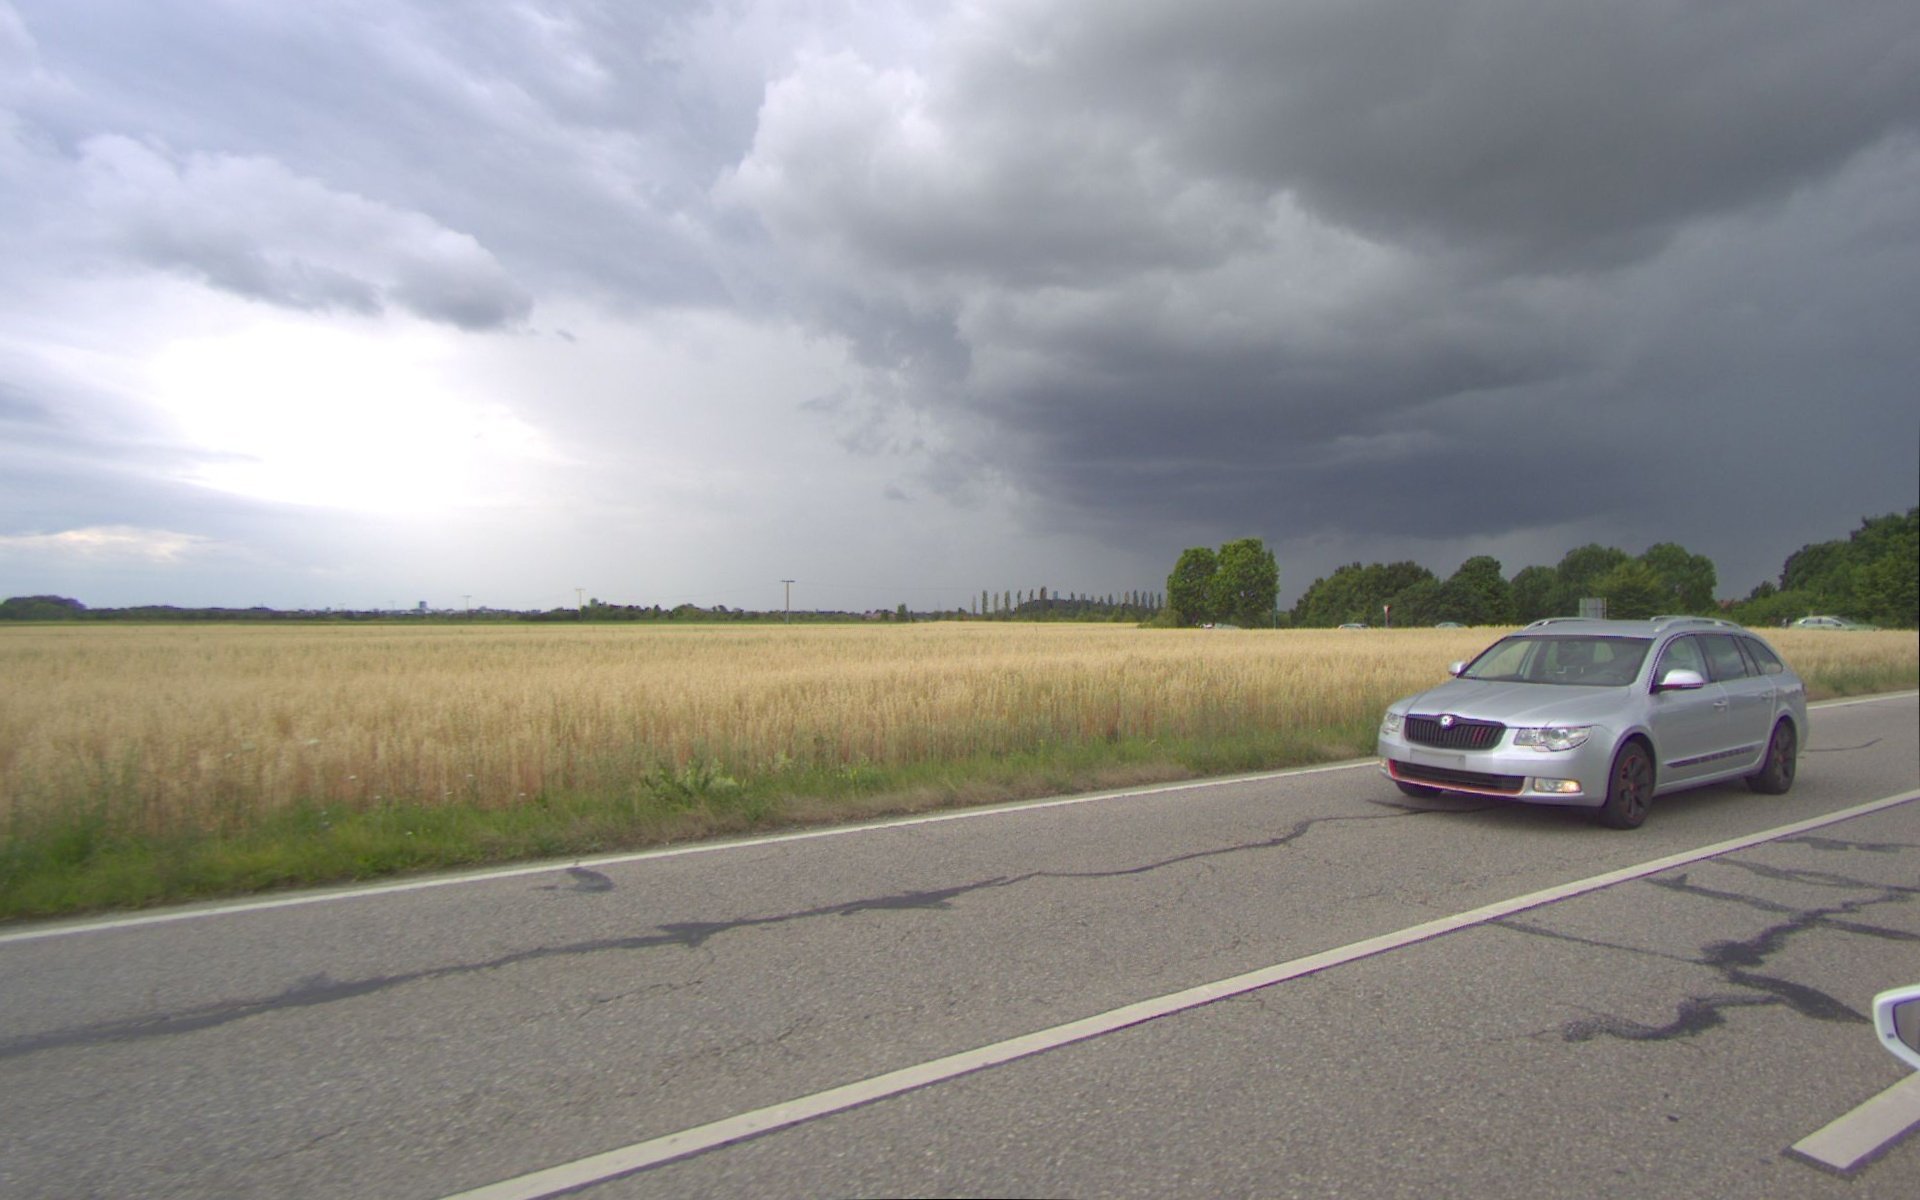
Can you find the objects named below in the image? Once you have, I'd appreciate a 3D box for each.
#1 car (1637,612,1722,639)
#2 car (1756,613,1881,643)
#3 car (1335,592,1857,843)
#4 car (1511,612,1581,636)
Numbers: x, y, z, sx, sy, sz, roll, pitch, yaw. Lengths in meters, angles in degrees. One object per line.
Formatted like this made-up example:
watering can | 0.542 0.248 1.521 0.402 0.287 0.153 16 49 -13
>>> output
car | 46.416 1.652 64.871 1.841 1.671 4.059 1 -1 -26
car | 49.921 1.616 58.550 1.841 1.671 5.291 1 -1 -26
car | 5.521 0.796 8.515 4.873 1.622 1.758 1 -1 -31
car | 42.656 1.763 73.177 1.841 1.671 4.059 1 -1 -26
